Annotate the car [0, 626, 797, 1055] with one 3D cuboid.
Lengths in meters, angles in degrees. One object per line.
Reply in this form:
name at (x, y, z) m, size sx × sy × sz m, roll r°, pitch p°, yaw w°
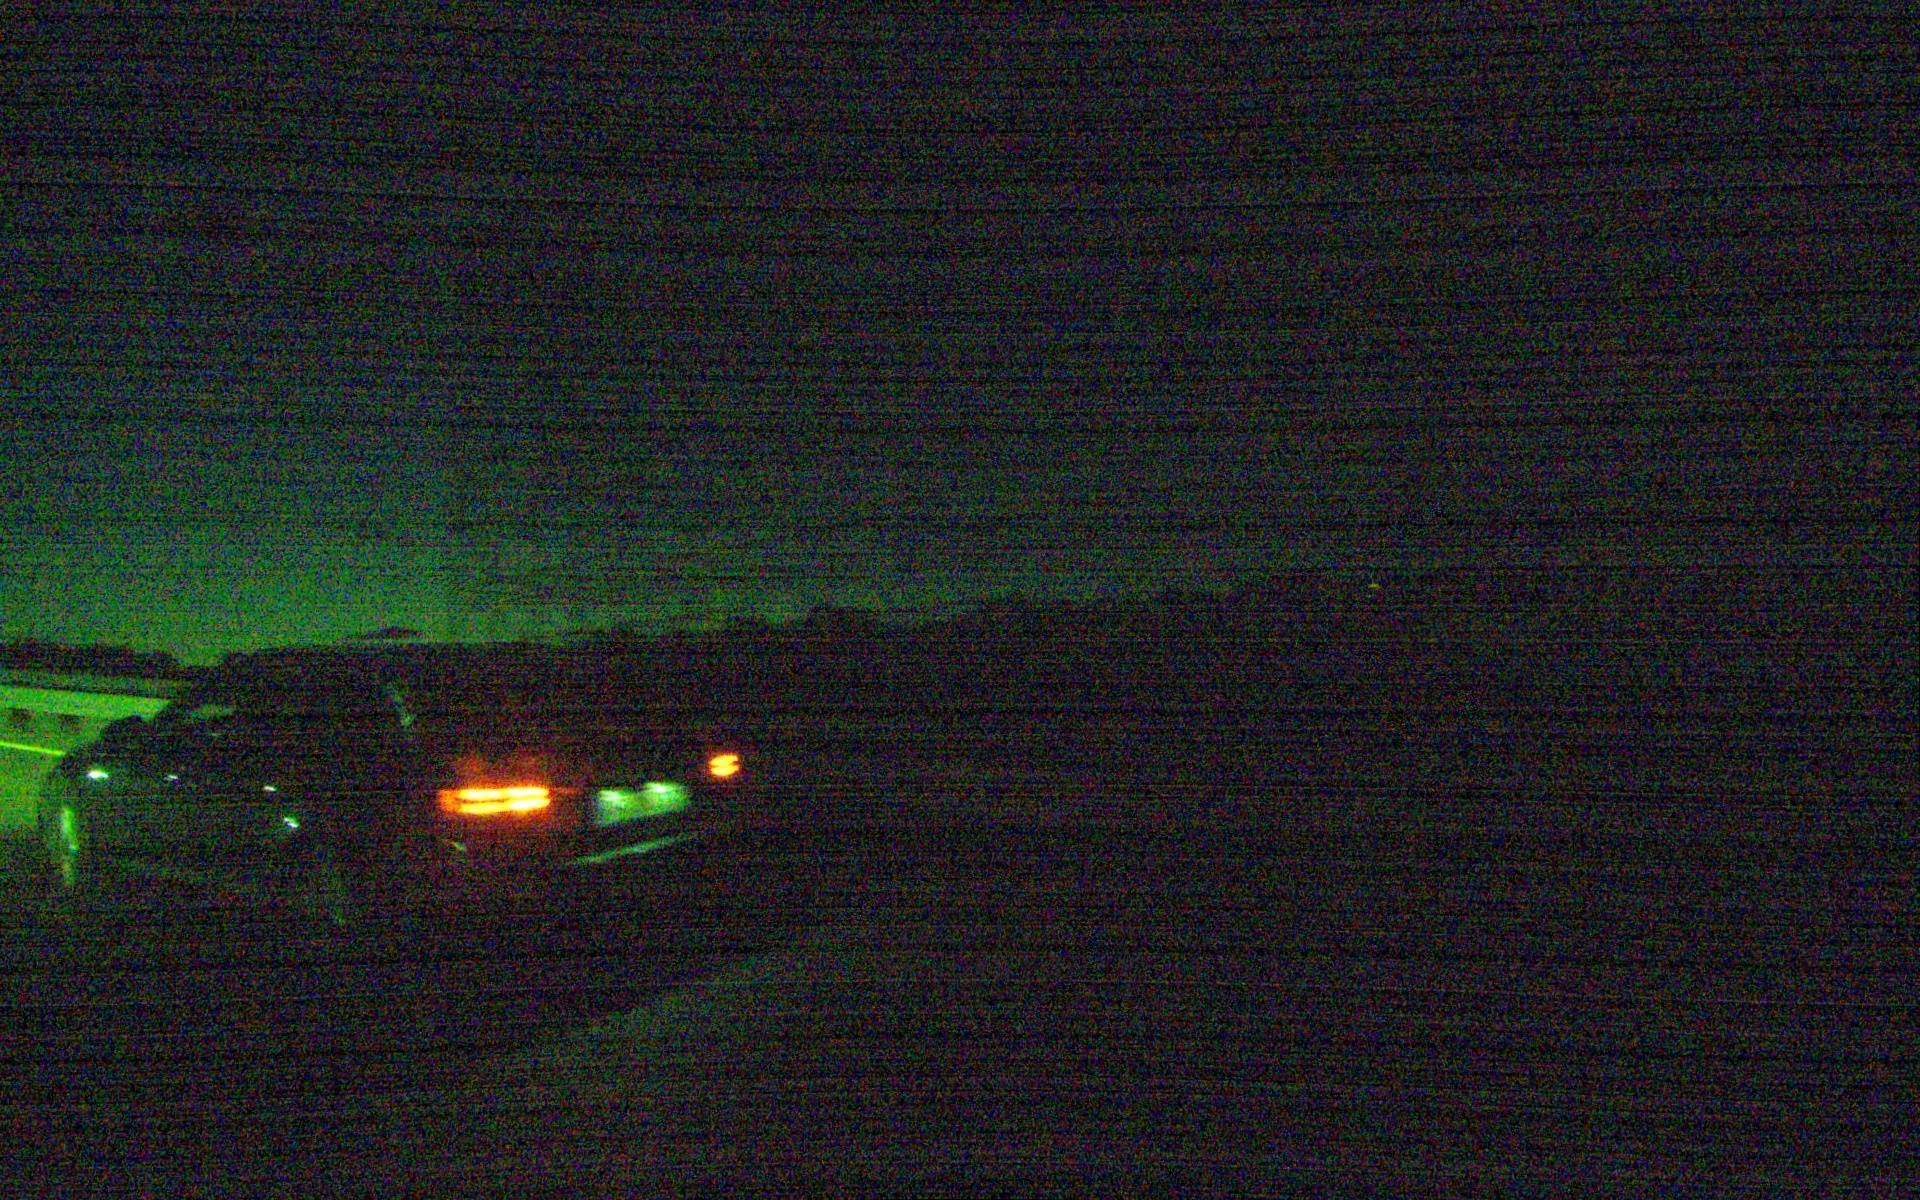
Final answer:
car at (-3.349, 0.902, 5.519) m, size 4.801 × 1.445 × 1.806 m, roll 0°, pitch 0°, yaw 30°
